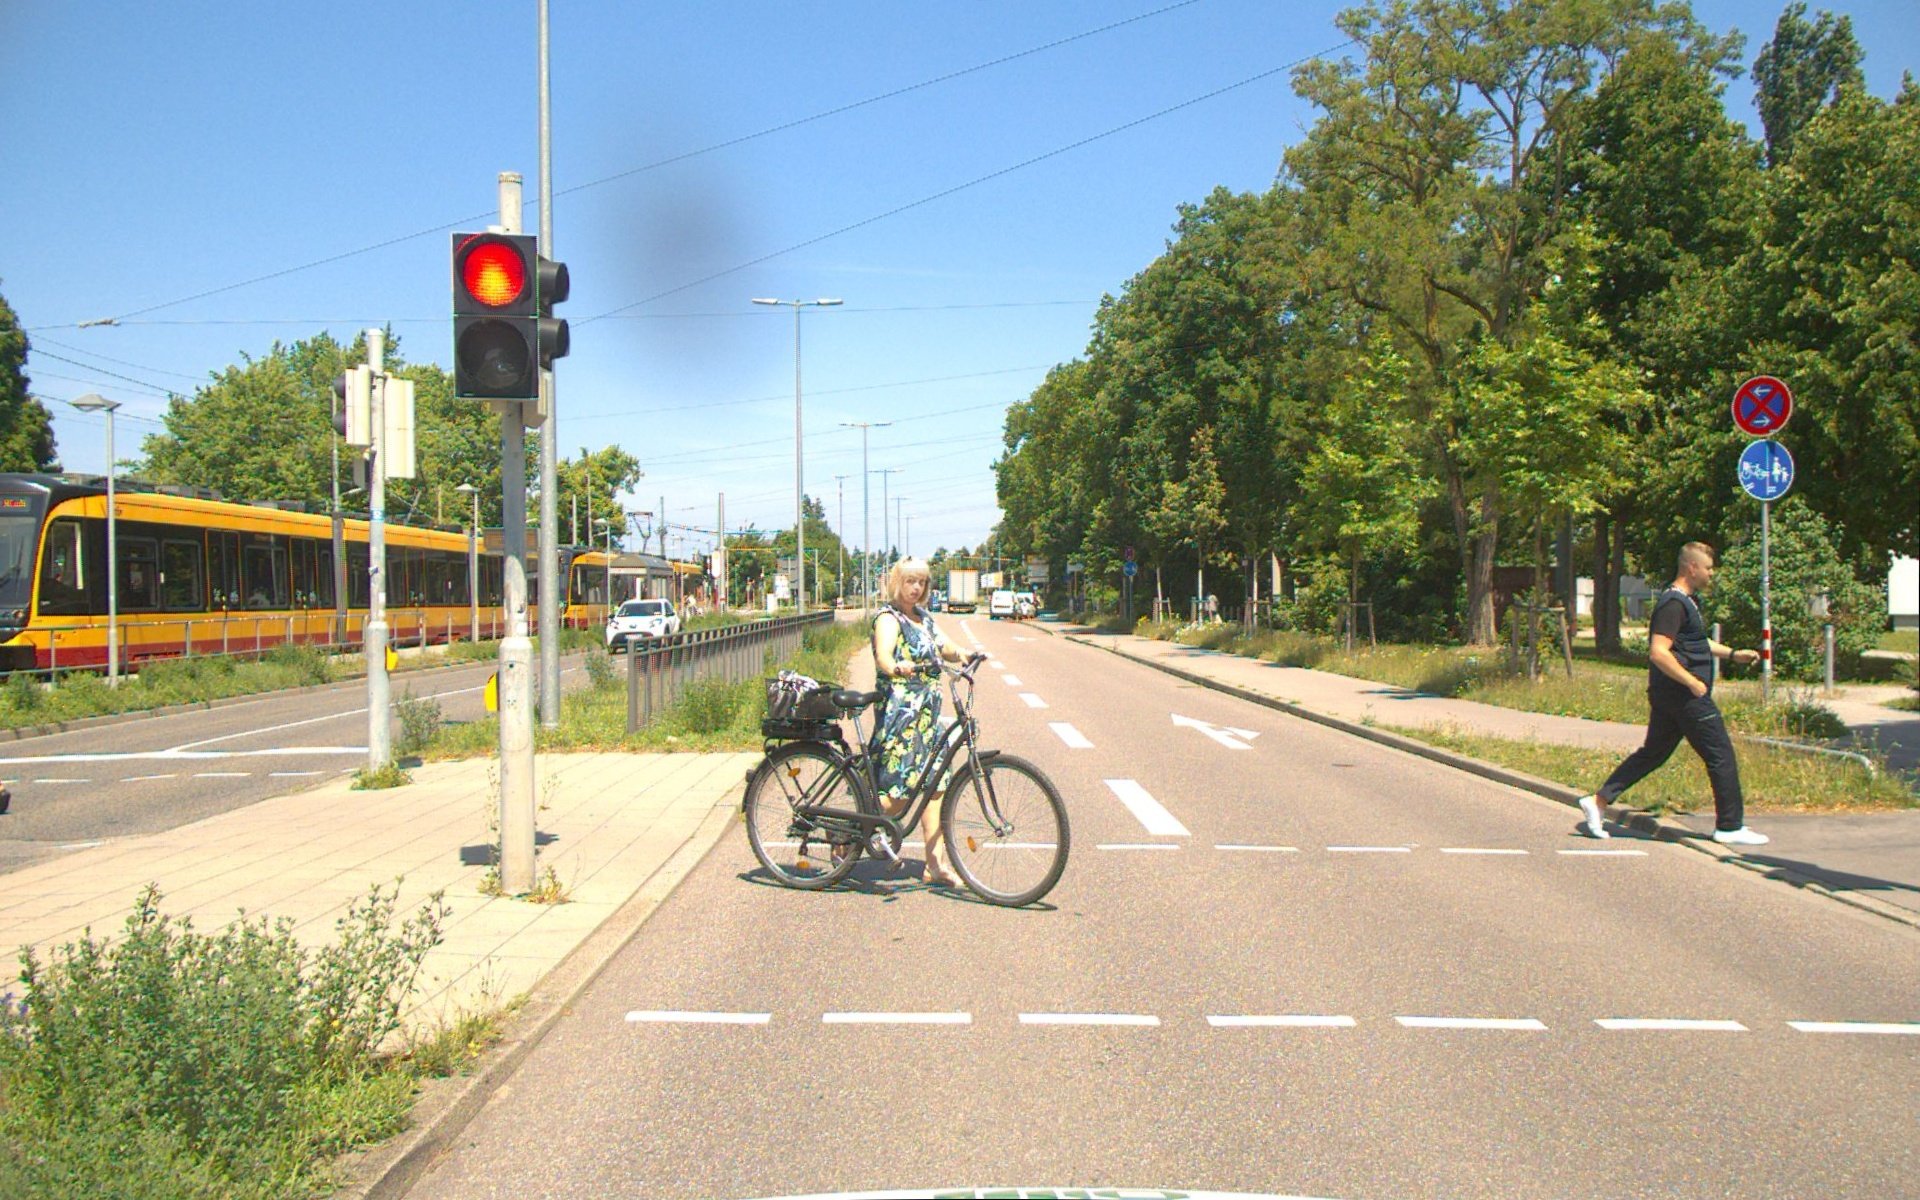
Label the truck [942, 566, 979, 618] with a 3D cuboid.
[{"bbox_3d":[0.042,-0.730,146.112,3.140,4.435,6.559,0,0,-1],"label":"truck"}]

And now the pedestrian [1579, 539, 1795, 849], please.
[{"bbox_3d":[4.543,0.556,10.323,1.162,1.809,0.838,0,-2,30],"label":"pedestrian"}]

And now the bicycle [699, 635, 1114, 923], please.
[{"bbox_3d":[-0.266,0.829,8.088,1.916,1.181,0.541,3,2,17],"label":"bicycle"}]

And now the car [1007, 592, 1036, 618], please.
[{"bbox_3d":[4.159,0.330,112.494,1.743,1.698,3.999,0,0,-1],"label":"car"}]

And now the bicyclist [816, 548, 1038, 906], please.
[{"bbox_3d":[-0.161,0.602,8.399,0.937,1.695,0.581,3,2,17],"label":"bicyclist"}]

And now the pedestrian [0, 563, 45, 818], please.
[{"bbox_3d":[-7.311,0.672,11.982,0.823,1.808,0.720,-4,2,-1],"label":"pedestrian"}]

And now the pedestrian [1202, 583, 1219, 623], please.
[{"bbox_3d":[9.352,0.117,61.684,0.591,1.463,0.556,0,0,6],"label":"pedestrian"}]

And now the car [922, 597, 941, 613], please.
[{"bbox_3d":[-2.691,0.431,156.351,1.774,1.490,3.999,0,0,-1],"label":"car"}]

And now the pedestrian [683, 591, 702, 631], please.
[{"bbox_3d":[-13.484,0.550,83.428,0.798,2.049,0.938,0,0,-1],"label":"pedestrian"}]

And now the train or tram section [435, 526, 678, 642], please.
[{"bbox_3d":[-16.268,-0.613,71.613,2.871,3.856,33.081,0,0,-1],"label":"train or tram section"}]

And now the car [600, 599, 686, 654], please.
[{"bbox_3d":[-9.231,0.745,48.413,1.807,1.521,3.790,0,0,-1],"label":"car"}]

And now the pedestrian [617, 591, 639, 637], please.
[{"bbox_3d":[-13.866,0.562,69.070,0.769,1.901,0.817,0,0,-1],"label":"pedestrian"}]

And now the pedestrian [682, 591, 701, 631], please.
[{"bbox_3d":[-13.761,0.550,84.717,0.798,2.049,0.938,0,0,-1],"label":"pedestrian"}]

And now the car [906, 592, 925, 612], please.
[{"bbox_3d":[-4.730,0.228,175.079,1.953,2.049,3.999,0,0,-1],"label":"car"}]

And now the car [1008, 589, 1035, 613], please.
[{"bbox_3d":[4.382,0.046,118.845,1.743,1.698,3.999,0,0,-1],"label":"car"}]

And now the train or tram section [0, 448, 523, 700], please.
[{"bbox_3d":[-15.805,-0.457,40.096,2.897,3.815,30.027,0,0,-1],"label":"train or tram section"}]

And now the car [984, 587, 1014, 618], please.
[{"bbox_3d":[2.487,0.160,105.693,1.743,1.937,3.999,0,0,-1],"label":"car"}]
